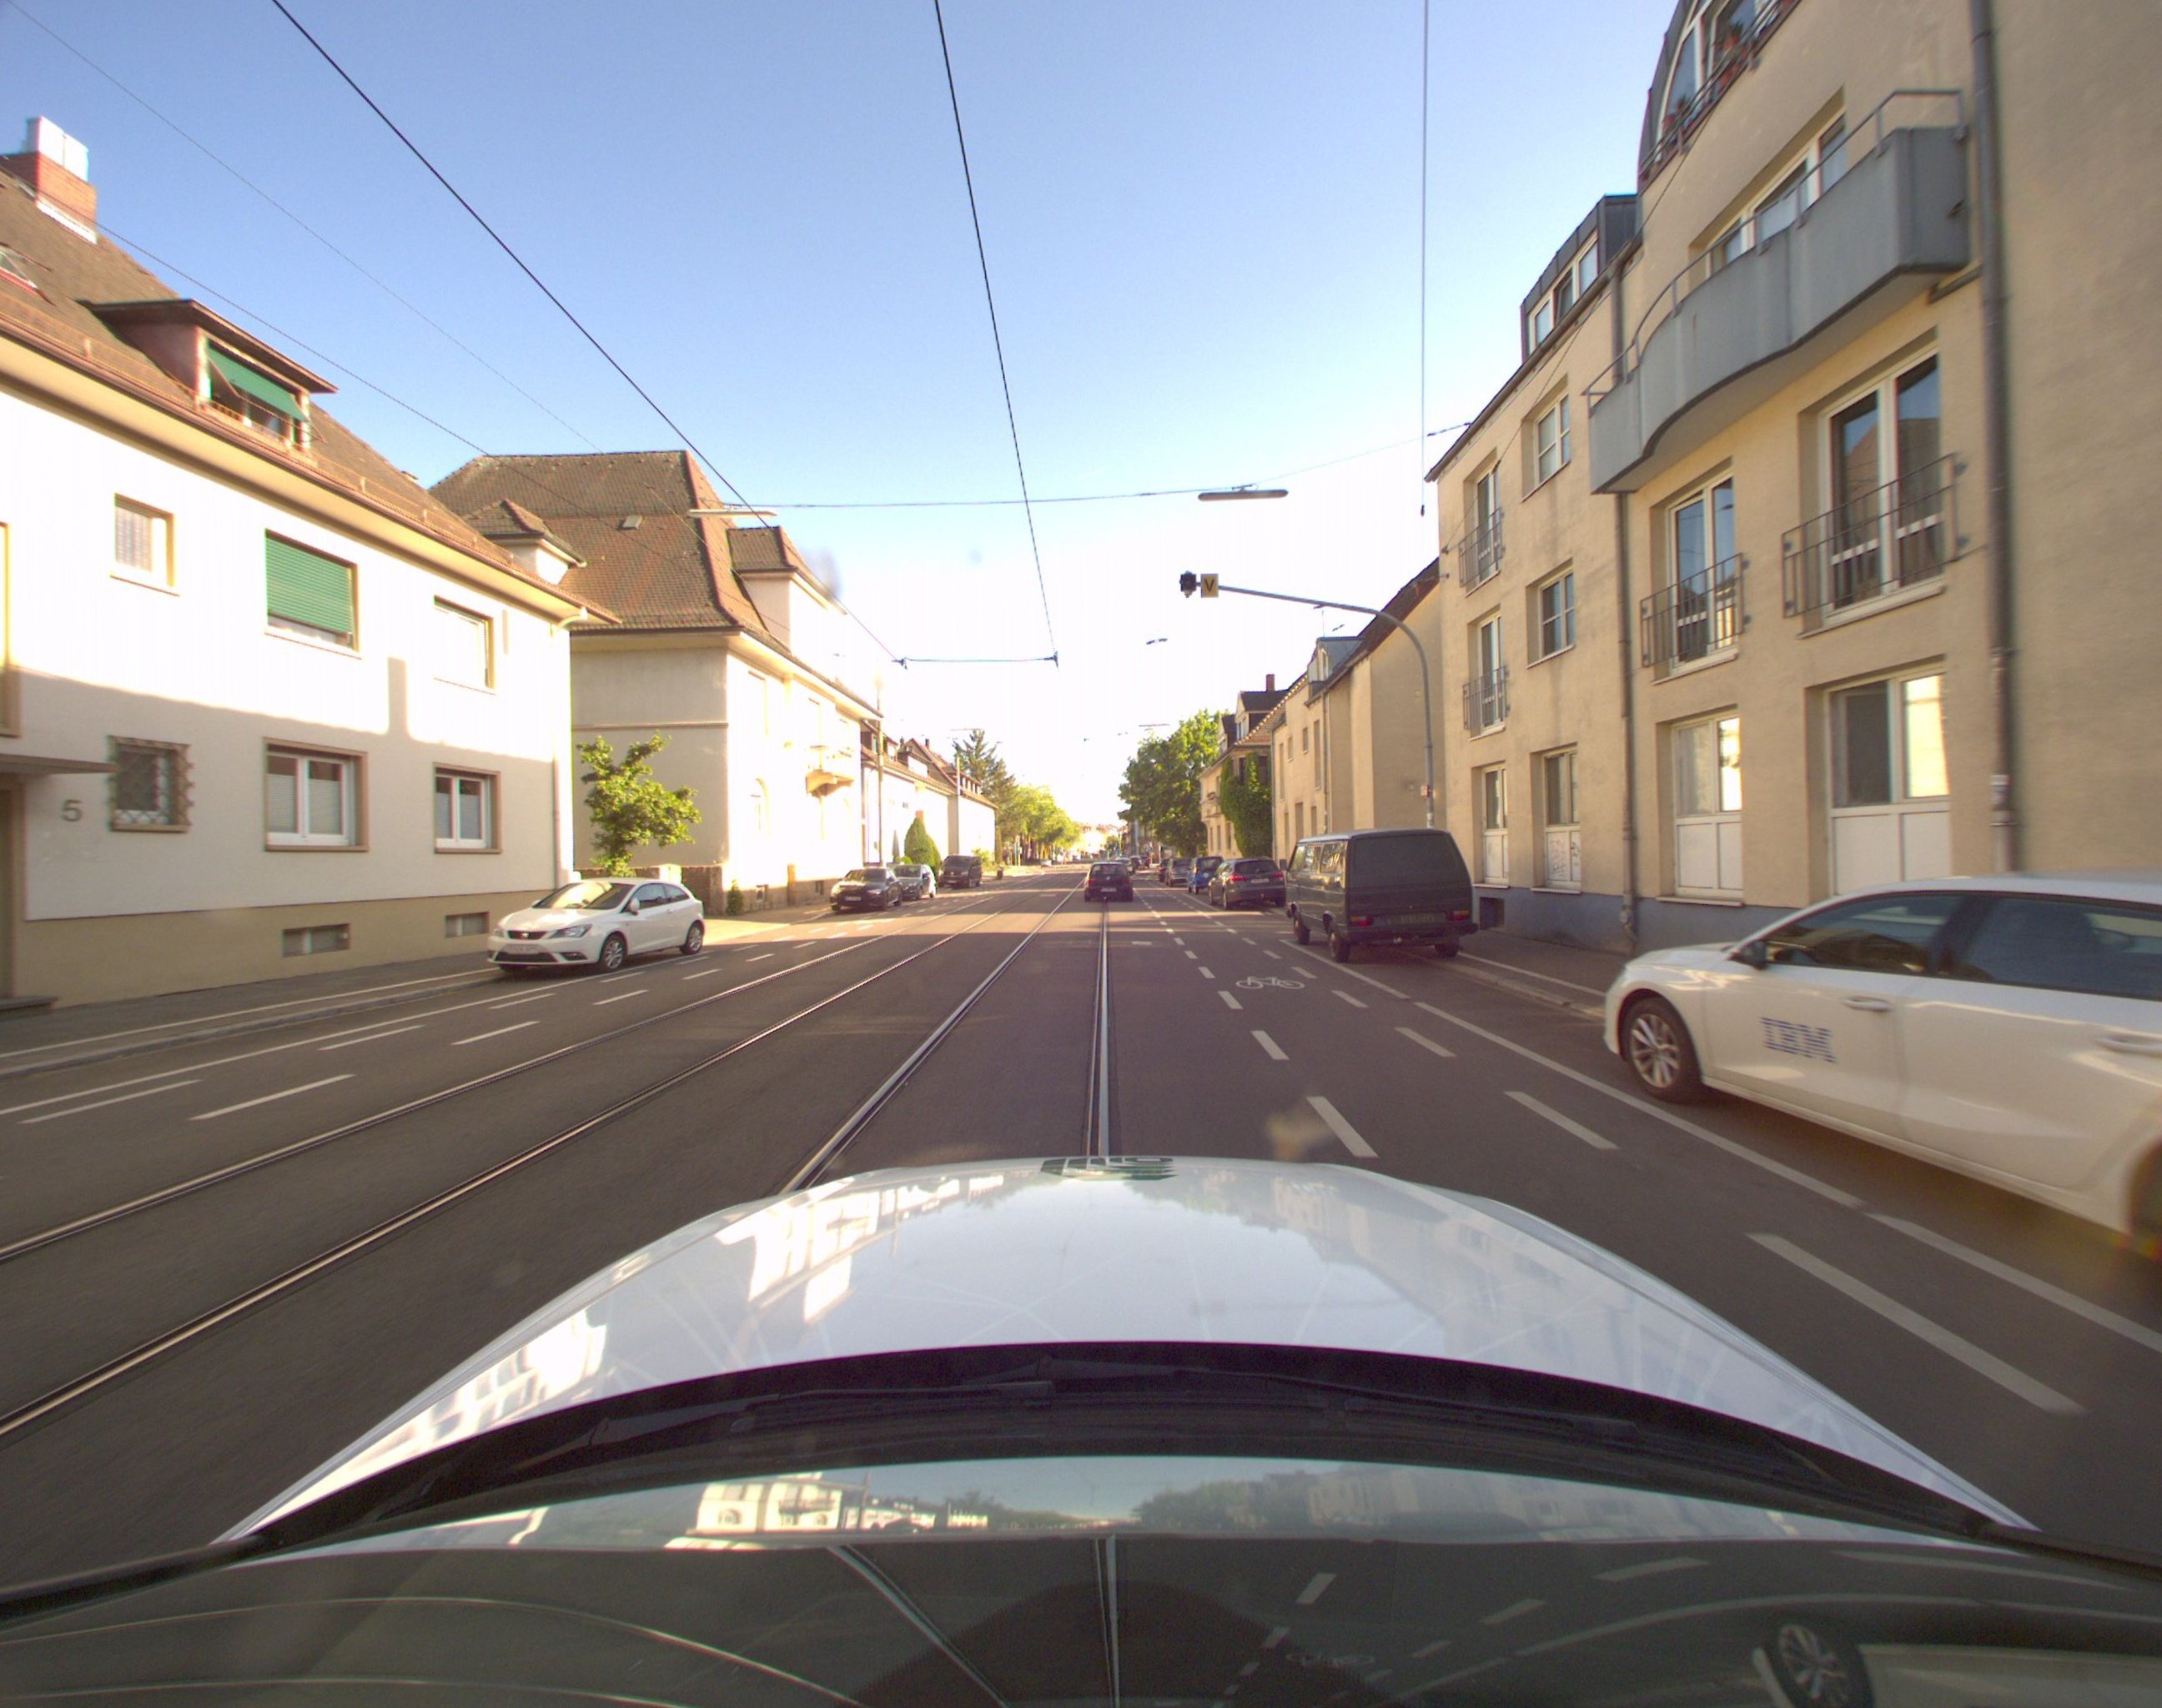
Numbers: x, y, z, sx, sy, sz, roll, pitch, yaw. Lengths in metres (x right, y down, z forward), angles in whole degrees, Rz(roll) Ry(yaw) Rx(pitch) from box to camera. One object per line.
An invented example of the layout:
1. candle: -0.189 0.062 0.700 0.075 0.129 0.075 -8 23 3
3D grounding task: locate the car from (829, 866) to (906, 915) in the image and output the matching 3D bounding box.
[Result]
1. car: -7.346 1.205 28.438 1.658 1.477 4.247 -2 0 -2

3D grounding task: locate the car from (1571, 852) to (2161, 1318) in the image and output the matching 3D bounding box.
1. car: 4.315 0.743 3.748 1.671 1.491 4.173 0 0 1

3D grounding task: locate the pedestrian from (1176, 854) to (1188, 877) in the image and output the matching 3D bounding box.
1. pedestrian: 7.560 0.848 60.842 0.715 1.688 0.870 -3 0 0

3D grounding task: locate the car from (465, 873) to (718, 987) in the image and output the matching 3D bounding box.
1. car: -7.823 1.129 13.530 1.625 1.457 4.017 -3 0 2

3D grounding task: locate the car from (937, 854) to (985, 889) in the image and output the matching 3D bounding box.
1. car: -7.157 1.013 48.903 1.898 2.014 4.952 0 0 3

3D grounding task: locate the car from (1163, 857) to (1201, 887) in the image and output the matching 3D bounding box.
1. car: 5.339 0.945 43.303 1.596 1.525 3.548 0 0 0

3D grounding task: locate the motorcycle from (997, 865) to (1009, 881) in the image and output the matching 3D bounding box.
1. motorcycle: -6.183 1.504 64.639 0.534 1.162 2.173 -3 0 2

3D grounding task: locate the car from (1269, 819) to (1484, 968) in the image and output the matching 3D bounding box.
1. car: 4.477 0.534 13.185 1.899 1.987 4.563 0 0 1

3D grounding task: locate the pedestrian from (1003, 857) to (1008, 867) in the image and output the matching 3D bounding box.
1. pedestrian: -12.493 1.353 135.310 0.610 1.689 0.729 1 0 -17

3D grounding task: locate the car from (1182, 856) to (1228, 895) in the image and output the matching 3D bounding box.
1. car: 5.252 0.885 34.685 1.452 1.599 3.293 0 0 0

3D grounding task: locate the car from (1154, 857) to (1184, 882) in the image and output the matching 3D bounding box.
1. car: 5.569 0.962 51.896 1.659 1.564 3.772 0 -1 2

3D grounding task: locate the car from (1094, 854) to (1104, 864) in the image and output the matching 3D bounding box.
1. car: 3.468 0.941 157.481 1.781 1.860 3.999 1 0 0

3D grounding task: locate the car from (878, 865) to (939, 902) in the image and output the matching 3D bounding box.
1. car: -7.329 1.216 34.925 1.670 1.477 3.837 0 0 2

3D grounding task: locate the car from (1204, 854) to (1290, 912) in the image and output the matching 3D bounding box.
1. car: 4.981 0.817 24.958 1.739 1.599 4.433 0 0 0

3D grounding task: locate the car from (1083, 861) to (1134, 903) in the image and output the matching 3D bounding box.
1. car: 1.009 0.961 29.659 1.709 1.402 4.008 0 0 2

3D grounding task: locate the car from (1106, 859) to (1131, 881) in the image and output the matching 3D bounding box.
1. car: 2.517 1.071 54.881 1.628 1.372 3.759 -2 0 2

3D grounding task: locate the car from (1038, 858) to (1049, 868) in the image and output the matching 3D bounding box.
1. car: -5.916 1.460 127.777 1.572 1.477 3.437 -2 0 -3

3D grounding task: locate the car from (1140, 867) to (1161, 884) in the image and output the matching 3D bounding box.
1. car: 6.350 1.940 74.364 1.565 1.311 3.646 -2 2 -1

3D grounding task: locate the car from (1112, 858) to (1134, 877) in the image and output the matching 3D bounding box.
1. car: 3.462 1.098 68.049 1.733 1.441 3.811 -2 0 2
